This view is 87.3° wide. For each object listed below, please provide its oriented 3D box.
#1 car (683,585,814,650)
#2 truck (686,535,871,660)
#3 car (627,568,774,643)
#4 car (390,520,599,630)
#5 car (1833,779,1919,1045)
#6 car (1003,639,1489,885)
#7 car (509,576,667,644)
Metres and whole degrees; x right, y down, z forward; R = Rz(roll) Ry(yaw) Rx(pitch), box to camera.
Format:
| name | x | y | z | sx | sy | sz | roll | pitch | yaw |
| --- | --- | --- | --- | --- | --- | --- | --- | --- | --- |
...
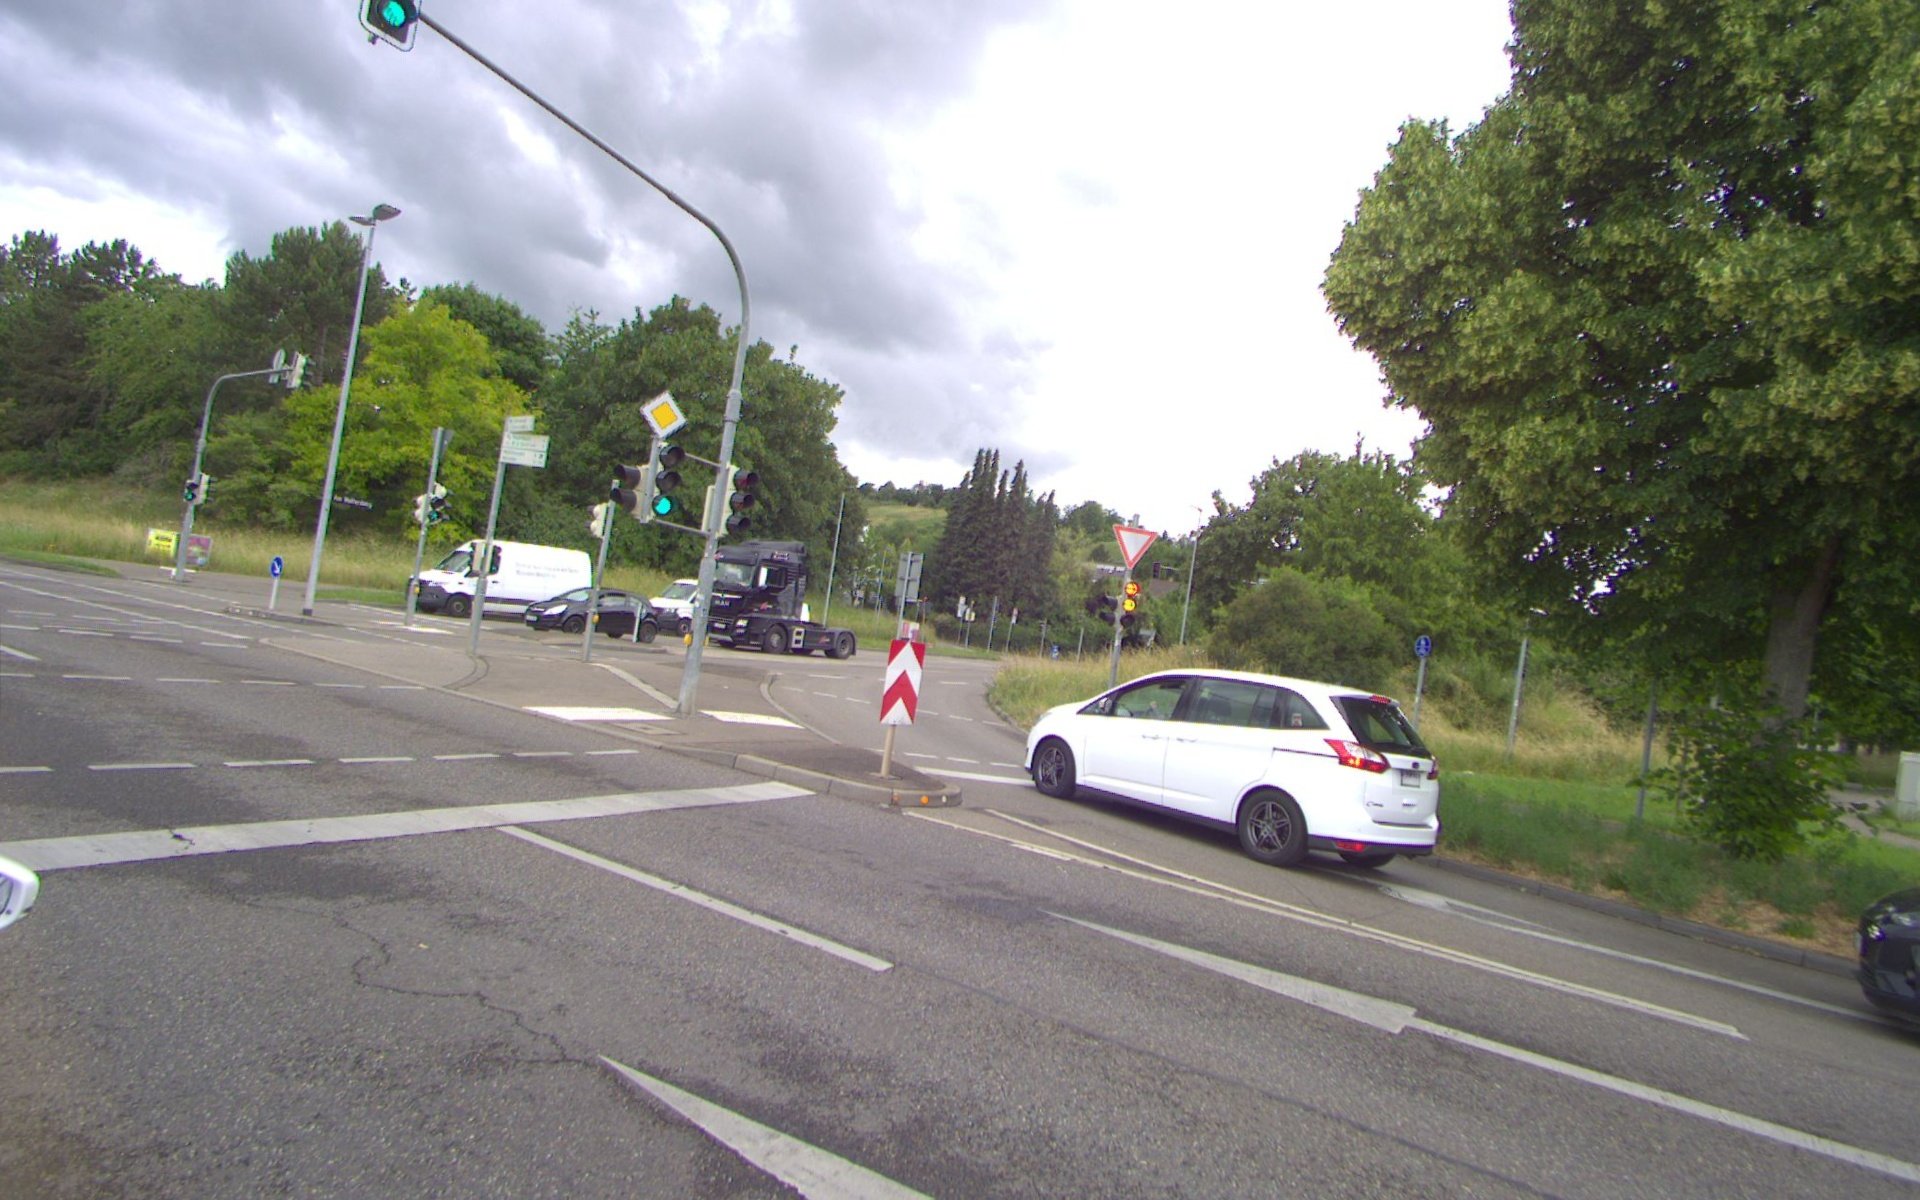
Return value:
| name | x | y | z | sx | sy | sz | roll | pitch | yaw |
| --- | --- | --- | --- | --- | --- | --- | --- | --- | --- |
| car | -8.118 | 0.737 | 39.077 | 1.999 | 1.918 | 4.862 | 7 | -1 | 31 |
| truck | -6.205 | 0.026 | 35.335 | 2.682 | 3.580 | 6.061 | 7 | -1 | 32 |
| car | -10.419 | 0.291 | 40.899 | 2.100 | 2.316 | 5.709 | 7 | -1 | 32 |
| car | -15.330 | -0.735 | 33.592 | 2.100 | 2.814 | 5.903 | 7 | -1 | 32 |
| car | 7.140 | 2.041 | 5.355 | 3.562 | 1.445 | 1.622 | 6 | -5 | 39 |
| car | 2.624 | 1.493 | 10.234 | 1.772 | 1.611 | 4.414 | 12 | -5 | -37 |
| car | -10.599 | 0.337 | 28.924 | 1.703 | 1.453 | 3.927 | 7 | -1 | 31 |
